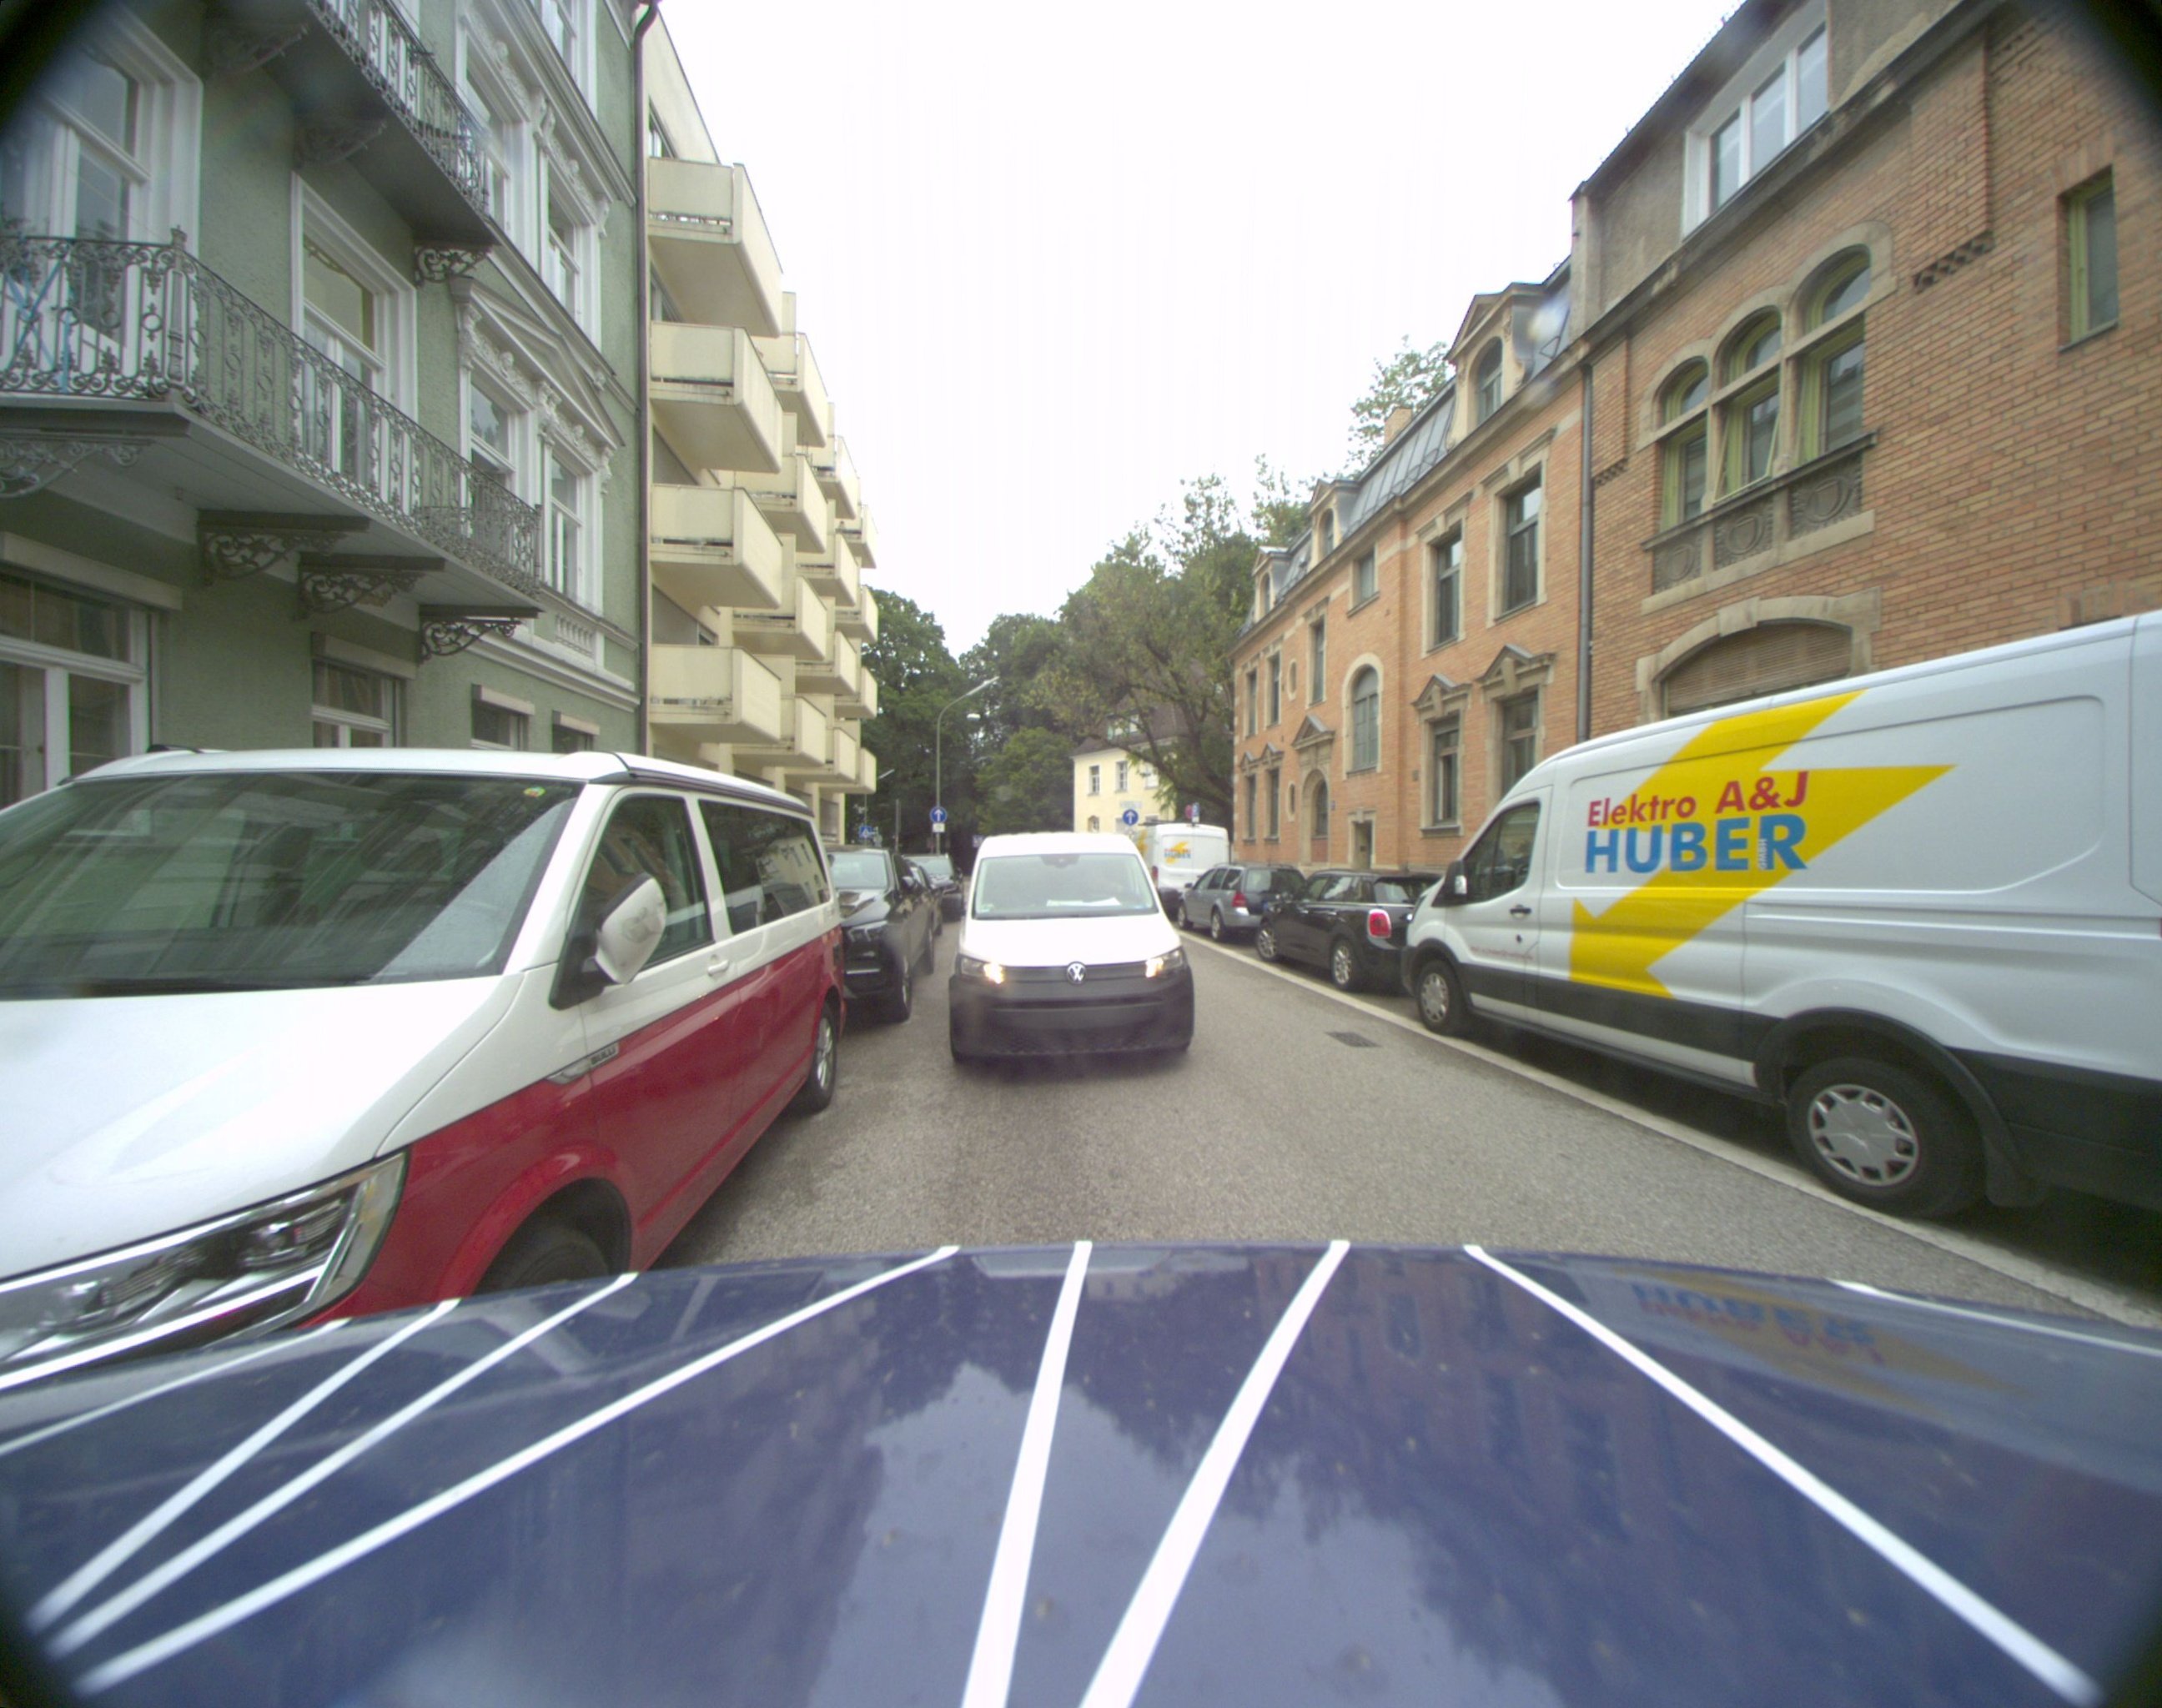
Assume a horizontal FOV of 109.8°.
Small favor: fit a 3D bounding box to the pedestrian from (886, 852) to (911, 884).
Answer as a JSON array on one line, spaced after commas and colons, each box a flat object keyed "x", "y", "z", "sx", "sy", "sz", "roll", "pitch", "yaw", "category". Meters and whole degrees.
[{"x": -10.452, "y": 0.793, "z": 43.431, "sx": 1.079, "sy": 1.789, "sz": 1.090, "roll": -3, "pitch": 2, "yaw": -28, "category": "pedestrian"}]

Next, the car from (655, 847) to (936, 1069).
[{"x": -2.755, "y": 0.858, "z": 8.508, "sx": 1.833, "sy": 1.747, "sz": 4.551, "roll": -2, "pitch": 0, "yaw": -6, "category": "car"}]

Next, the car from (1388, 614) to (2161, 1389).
[{"x": 4.217, "y": 0.476, "z": 4.780, "sx": 1.987, "sy": 2.463, "sz": 5.220, "roll": 2, "pitch": 0, "yaw": -6, "category": "car"}]

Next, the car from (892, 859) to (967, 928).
[{"x": -3.883, "y": 0.941, "z": 19.957, "sx": 1.552, "sy": 1.562, "sz": 3.975, "roll": -2, "pitch": 0, "yaw": -6, "category": "car"}]

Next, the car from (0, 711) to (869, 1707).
[{"x": -2.384, "y": 0.742, "z": 3.460, "sx": 1.859, "sy": 1.885, "sz": 4.589, "roll": -2, "pitch": 0, "yaw": -5, "category": "car"}]

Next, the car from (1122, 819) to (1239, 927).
[{"x": 2.560, "y": 0.489, "z": 20.775, "sx": 2.120, "sy": 2.525, "sz": 4.419, "roll": 3, "pitch": -1, "yaw": -6, "category": "car"}]

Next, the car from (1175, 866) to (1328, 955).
[{"x": 3.176, "y": 1.011, "z": 15.030, "sx": 1.695, "sy": 1.434, "sz": 3.981, "roll": 2, "pitch": 0, "yaw": -7, "category": "car"}]

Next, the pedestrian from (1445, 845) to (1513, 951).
[{"x": 6.304, "y": 0.685, "z": 12.063, "sx": 0.634, "sy": 1.623, "sz": 0.674, "roll": 2, "pitch": 1, "yaw": -6, "category": "pedestrian"}]

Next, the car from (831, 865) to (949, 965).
[{"x": -3.405, "y": 1.008, "z": 14.178, "sx": 1.552, "sy": 1.488, "sz": 3.975, "roll": -2, "pitch": 0, "yaw": -6, "category": "car"}]

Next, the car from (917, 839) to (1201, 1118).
[{"x": -0.311, "y": 0.801, "z": 6.849, "sx": 1.777, "sy": 1.761, "sz": 3.998, "roll": 1, "pitch": 0, "yaw": -5, "category": "car"}]

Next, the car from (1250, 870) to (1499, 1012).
[{"x": 3.577, "y": 0.990, "z": 9.964, "sx": 1.528, "sy": 1.434, "sz": 3.538, "roll": 2, "pitch": 0, "yaw": -7, "category": "car"}]
